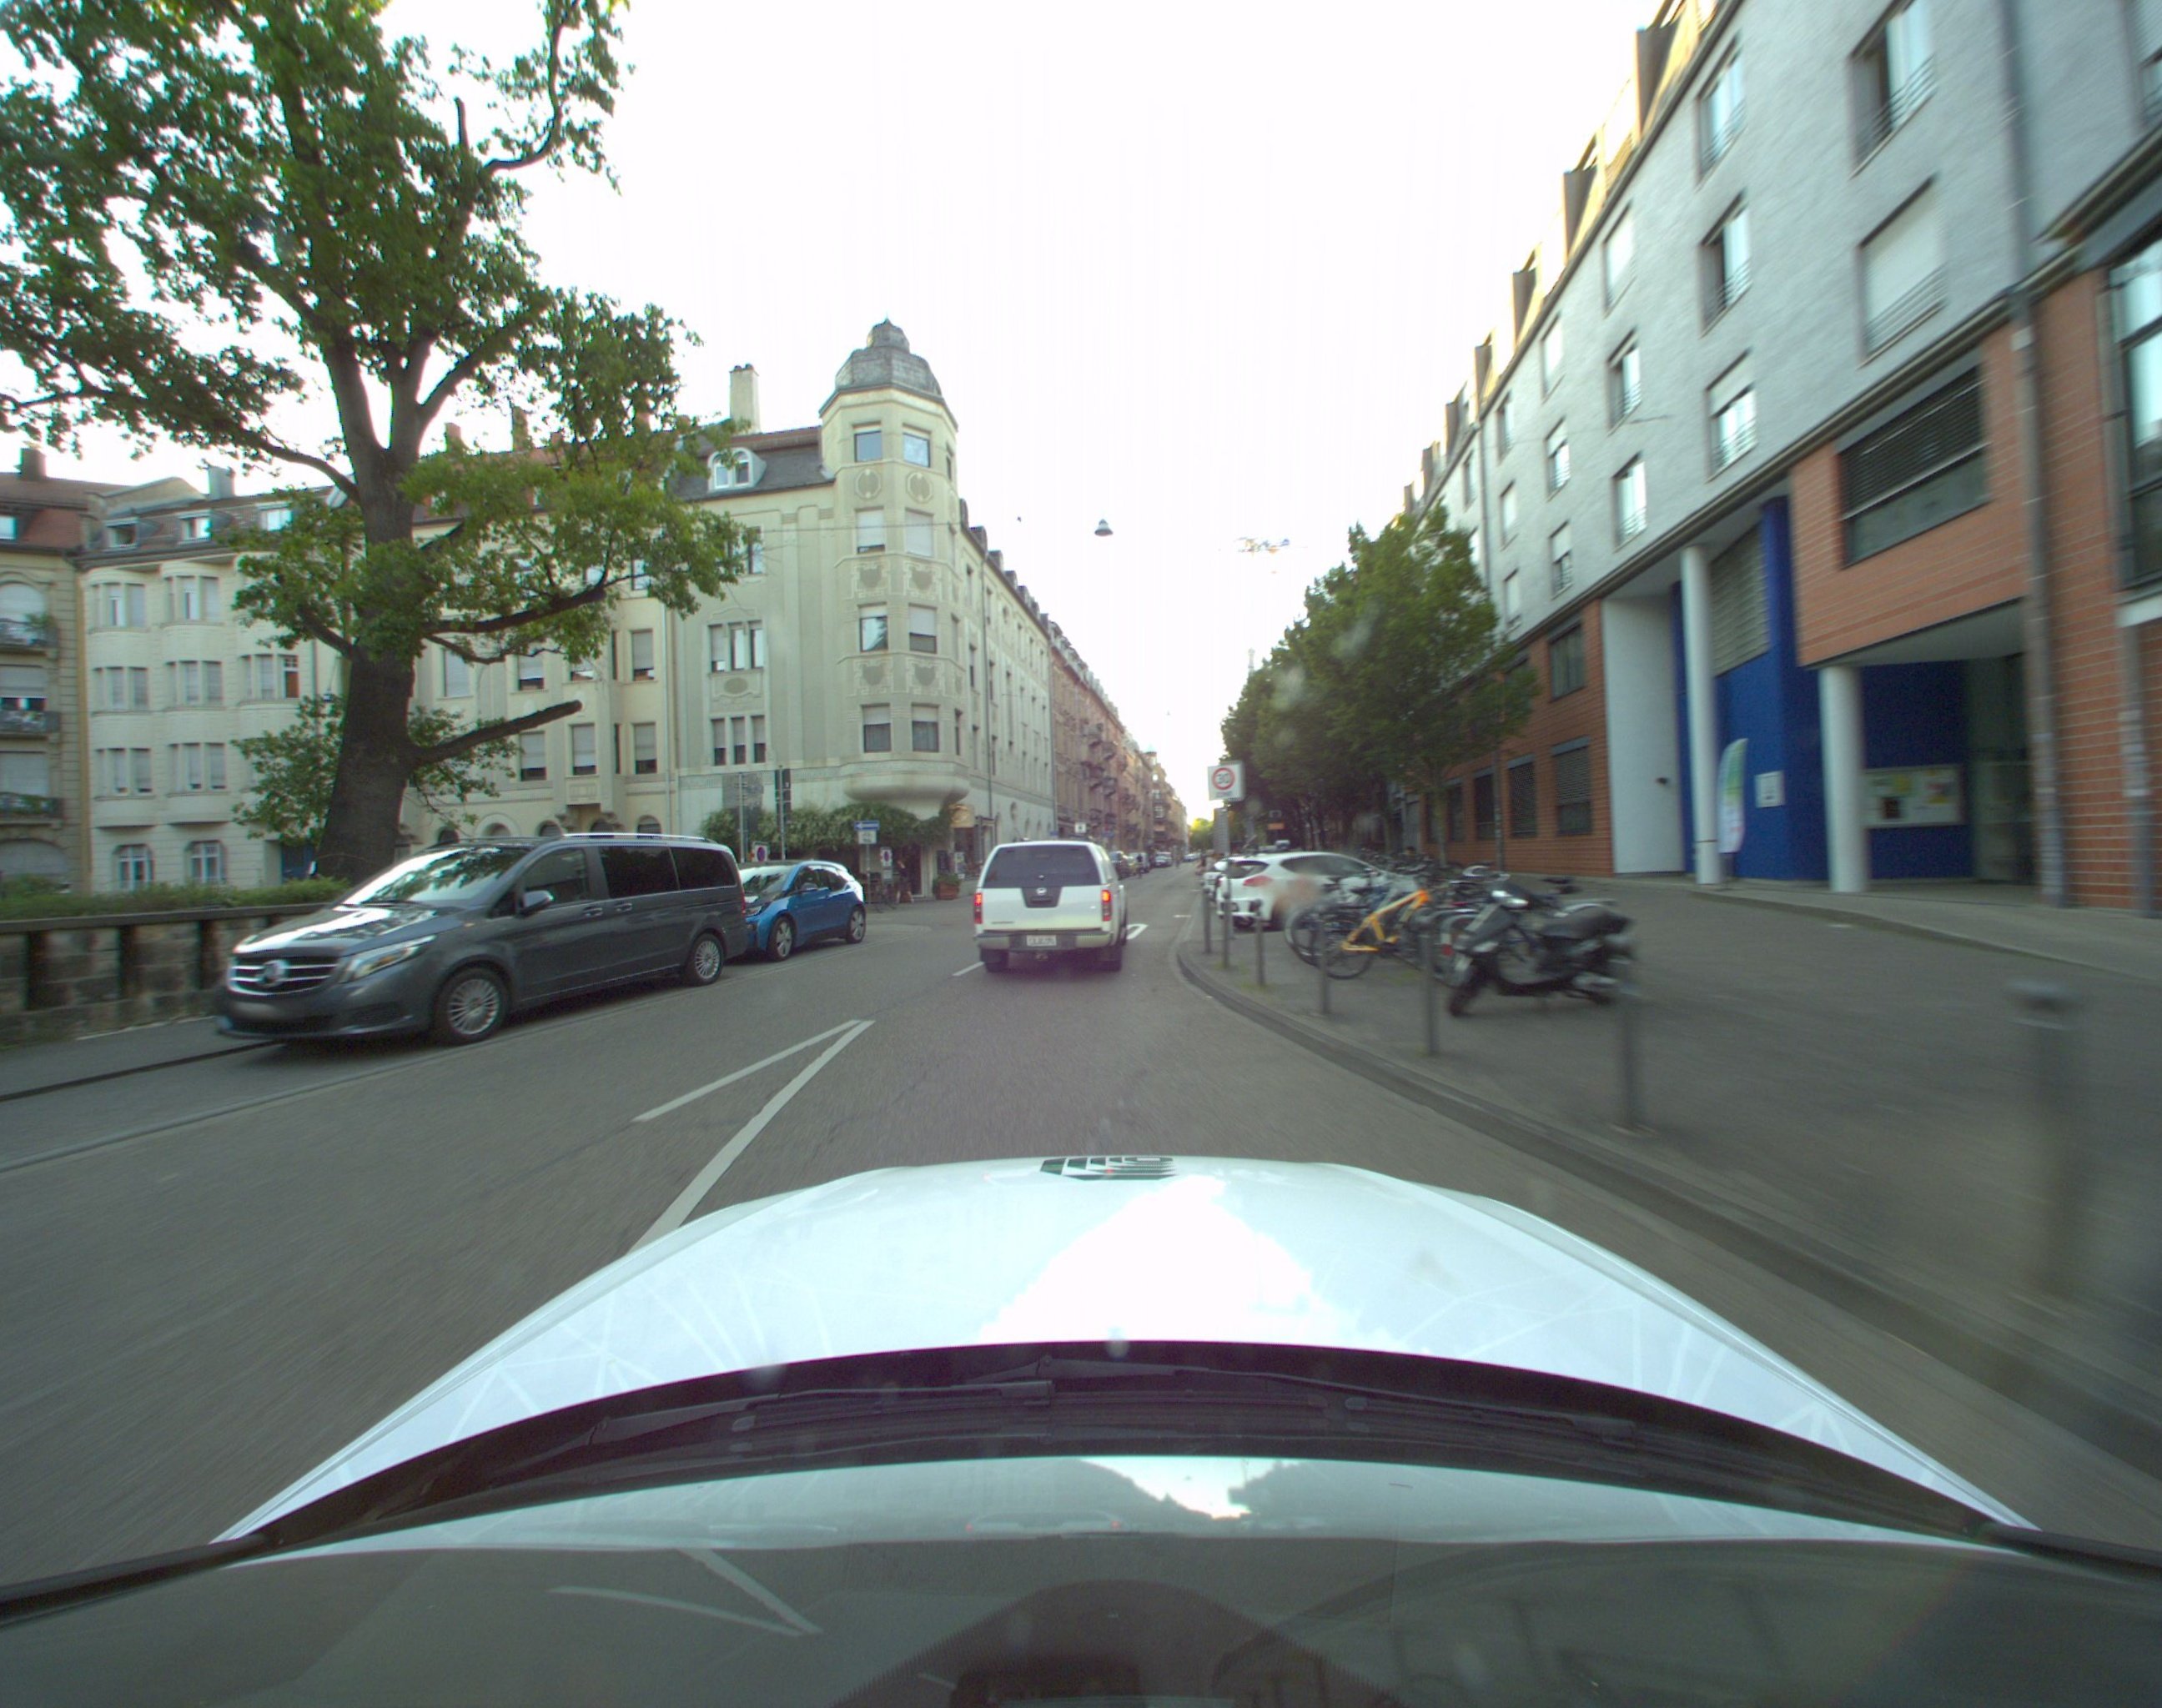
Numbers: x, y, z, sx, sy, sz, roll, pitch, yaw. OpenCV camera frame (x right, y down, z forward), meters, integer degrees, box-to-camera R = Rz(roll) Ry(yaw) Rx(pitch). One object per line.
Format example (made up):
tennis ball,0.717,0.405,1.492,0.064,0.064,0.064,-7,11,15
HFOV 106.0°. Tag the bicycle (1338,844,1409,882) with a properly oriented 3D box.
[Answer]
bicycle,11.441,0.362,31.917,2.518,1.379,0.601,-2,-1,11

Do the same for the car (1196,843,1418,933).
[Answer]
car,4.523,0.632,16.353,4.001,1.506,1.758,-2,-1,-21

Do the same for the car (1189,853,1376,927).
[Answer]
car,4.818,0.836,19.485,4.006,1.473,1.860,-2,-2,-24

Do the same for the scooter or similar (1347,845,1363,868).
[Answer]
scooter or similar,15.655,0.148,46.483,0.365,1.218,1.715,-6,-2,33

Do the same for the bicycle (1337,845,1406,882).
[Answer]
bicycle,11.620,0.385,32.660,2.518,1.379,0.601,-2,-1,11

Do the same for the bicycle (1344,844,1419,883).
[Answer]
bicycle,11.248,0.362,30.579,2.518,1.379,0.601,-2,-1,11

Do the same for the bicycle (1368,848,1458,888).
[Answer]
bicycle,10.473,0.447,25.763,2.518,1.166,0.564,-2,-1,11

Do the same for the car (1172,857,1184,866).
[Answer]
car,18.267,1.396,153.512,1.834,1.552,4.369,-2,0,12

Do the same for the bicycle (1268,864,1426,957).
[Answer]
bicycle,3.430,0.729,10.609,1.847,1.066,0.446,-4,-1,7

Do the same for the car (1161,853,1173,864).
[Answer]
car,13.247,0.668,125.380,1.837,1.552,4.363,-2,0,7

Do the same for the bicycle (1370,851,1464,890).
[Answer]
bicycle,10.339,0.505,25.129,2.518,0.959,0.682,-6,-1,11

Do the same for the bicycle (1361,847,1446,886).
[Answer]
bicycle,10.678,0.408,26.999,2.518,1.166,0.564,-2,-1,11

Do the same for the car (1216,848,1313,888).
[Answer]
car,8.569,0.644,38.128,3.988,1.636,1.752,-3,0,-11

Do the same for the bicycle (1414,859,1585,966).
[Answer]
bicycle,4.548,0.628,8.919,1.531,1.038,0.473,-4,-1,7

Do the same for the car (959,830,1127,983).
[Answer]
car,-0.339,0.670,12.208,1.925,1.794,4.626,-2,-1,4

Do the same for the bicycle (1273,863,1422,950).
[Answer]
bicycle,3.663,0.720,11.303,1.847,1.066,0.446,-4,-1,7

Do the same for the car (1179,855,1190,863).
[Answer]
car,21.452,1.012,169.331,1.834,1.552,4.370,-2,0,12

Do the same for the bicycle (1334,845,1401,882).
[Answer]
bicycle,11.732,0.386,33.407,2.518,1.379,0.601,-2,-1,11

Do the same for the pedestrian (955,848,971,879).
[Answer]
pedestrian,-5.234,0.439,36.079,0.535,1.350,0.520,-2,-1,10

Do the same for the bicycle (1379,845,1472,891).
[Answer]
bicycle,10.093,0.410,23.942,2.331,1.099,0.682,-6,-1,11

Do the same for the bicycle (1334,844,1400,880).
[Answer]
bicycle,11.945,0.342,34.092,2.518,1.379,0.601,-2,-1,11

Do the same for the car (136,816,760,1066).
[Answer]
car,-5.949,0.679,8.849,1.981,1.866,5.305,-2,0,11

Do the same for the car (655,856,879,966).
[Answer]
car,-5.130,0.852,13.950,1.630,1.555,4.016,-2,0,11

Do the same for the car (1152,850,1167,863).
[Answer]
car,10.429,0.334,107.878,1.700,1.530,4.010,-1,0,9

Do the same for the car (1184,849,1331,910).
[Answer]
car,5.212,0.714,24.105,4.003,1.537,1.624,-2,0,-22

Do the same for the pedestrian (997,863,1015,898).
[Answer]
pedestrian,-2.955,1.036,32.118,0.534,1.324,0.707,-2,-1,10

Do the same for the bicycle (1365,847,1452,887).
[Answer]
bicycle,10.575,0.419,26.372,2.518,1.166,0.564,-2,-1,11

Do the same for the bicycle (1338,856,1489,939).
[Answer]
bicycle,4.813,0.625,11.871,1.901,1.066,0.525,-4,-1,7

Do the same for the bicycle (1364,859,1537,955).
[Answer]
bicycle,4.524,0.650,10.040,1.847,1.038,0.403,-4,-1,7

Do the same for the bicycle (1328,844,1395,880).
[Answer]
bicycle,11.993,0.347,34.836,2.518,1.244,0.601,-8,-2,11

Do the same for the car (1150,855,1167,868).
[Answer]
car,9.765,0.966,101.888,1.781,1.530,4.011,-1,0,10

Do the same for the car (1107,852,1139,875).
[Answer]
car,3.264,0.716,62.141,1.982,1.653,4.010,-2,0,9

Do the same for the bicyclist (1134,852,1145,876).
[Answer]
bicyclist,4.122,0.712,57.562,0.599,1.685,1.145,-2,-1,9

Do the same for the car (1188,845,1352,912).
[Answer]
car,5.093,0.644,21.987,4.003,1.523,1.697,-2,-2,-22

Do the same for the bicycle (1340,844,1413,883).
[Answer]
bicycle,11.338,0.365,31.290,2.518,1.379,0.601,-2,-1,11

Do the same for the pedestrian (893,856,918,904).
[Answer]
pedestrian,-6.327,0.922,29.334,0.619,1.675,0.561,-1,-1,-42

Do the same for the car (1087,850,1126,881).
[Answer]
car,1.750,0.755,54.019,1.893,1.925,4.960,-1,0,10

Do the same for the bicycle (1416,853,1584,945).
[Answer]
bicycle,5.490,0.589,10.748,1.847,1.066,0.525,-4,-1,7

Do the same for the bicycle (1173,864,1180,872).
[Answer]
bicycle,11.440,1.696,97.075,0.796,0.947,2.009,-1,0,7

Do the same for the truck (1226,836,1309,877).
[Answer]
truck,14.811,0.241,64.880,6.281,2.977,2.270,-1,-3,10

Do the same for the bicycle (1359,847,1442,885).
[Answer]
bicycle,10.791,0.404,27.601,2.518,1.166,0.564,-2,-1,11

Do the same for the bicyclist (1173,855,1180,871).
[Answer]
bicyclist,11.418,1.034,96.993,0.796,1.849,0.945,-1,-1,7

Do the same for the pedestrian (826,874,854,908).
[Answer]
pedestrian,-9.038,1.384,30.548,0.686,1.214,0.781,-2,-1,10

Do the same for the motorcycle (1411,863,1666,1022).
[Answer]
motorcycle,3.664,0.686,6.614,1.639,1.101,0.647,-5,-1,0

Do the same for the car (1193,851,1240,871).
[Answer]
car,12.734,0.657,76.447,4.164,1.780,1.827,-2,0,14

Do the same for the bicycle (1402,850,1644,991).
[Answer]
bicycle,4.183,0.622,7.830,1.848,1.146,0.661,-5,-1,8

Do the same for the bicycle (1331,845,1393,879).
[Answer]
bicycle,12.433,0.348,36.092,2.518,1.379,0.601,-2,-1,11

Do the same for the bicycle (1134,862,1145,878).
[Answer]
bicycle,4.138,1.133,57.591,0.611,1.040,1.909,-2,-1,9

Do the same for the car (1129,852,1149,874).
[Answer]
car,5.242,0.752,73.296,1.550,1.921,3.865,0,0,9

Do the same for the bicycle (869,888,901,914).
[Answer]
bicycle,-6.599,1.566,27.479,0.421,0.695,1.783,-2,1,7

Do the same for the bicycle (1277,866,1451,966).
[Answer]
bicycle,3.339,0.731,9.712,1.847,1.038,0.473,-4,-1,7

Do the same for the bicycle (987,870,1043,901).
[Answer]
bicycle,-2.405,1.135,29.503,2.089,1.095,0.504,-1,1,34

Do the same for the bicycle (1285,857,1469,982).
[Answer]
bicycle,3.091,0.681,8.616,1.698,1.176,0.473,-4,-1,7

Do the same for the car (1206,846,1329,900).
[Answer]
car,6.151,0.600,26.894,3.611,1.580,1.702,-2,-1,-24

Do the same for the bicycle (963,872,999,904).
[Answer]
bicycle,-3.490,1.189,28.598,0.419,1.012,1.728,-2,1,23
